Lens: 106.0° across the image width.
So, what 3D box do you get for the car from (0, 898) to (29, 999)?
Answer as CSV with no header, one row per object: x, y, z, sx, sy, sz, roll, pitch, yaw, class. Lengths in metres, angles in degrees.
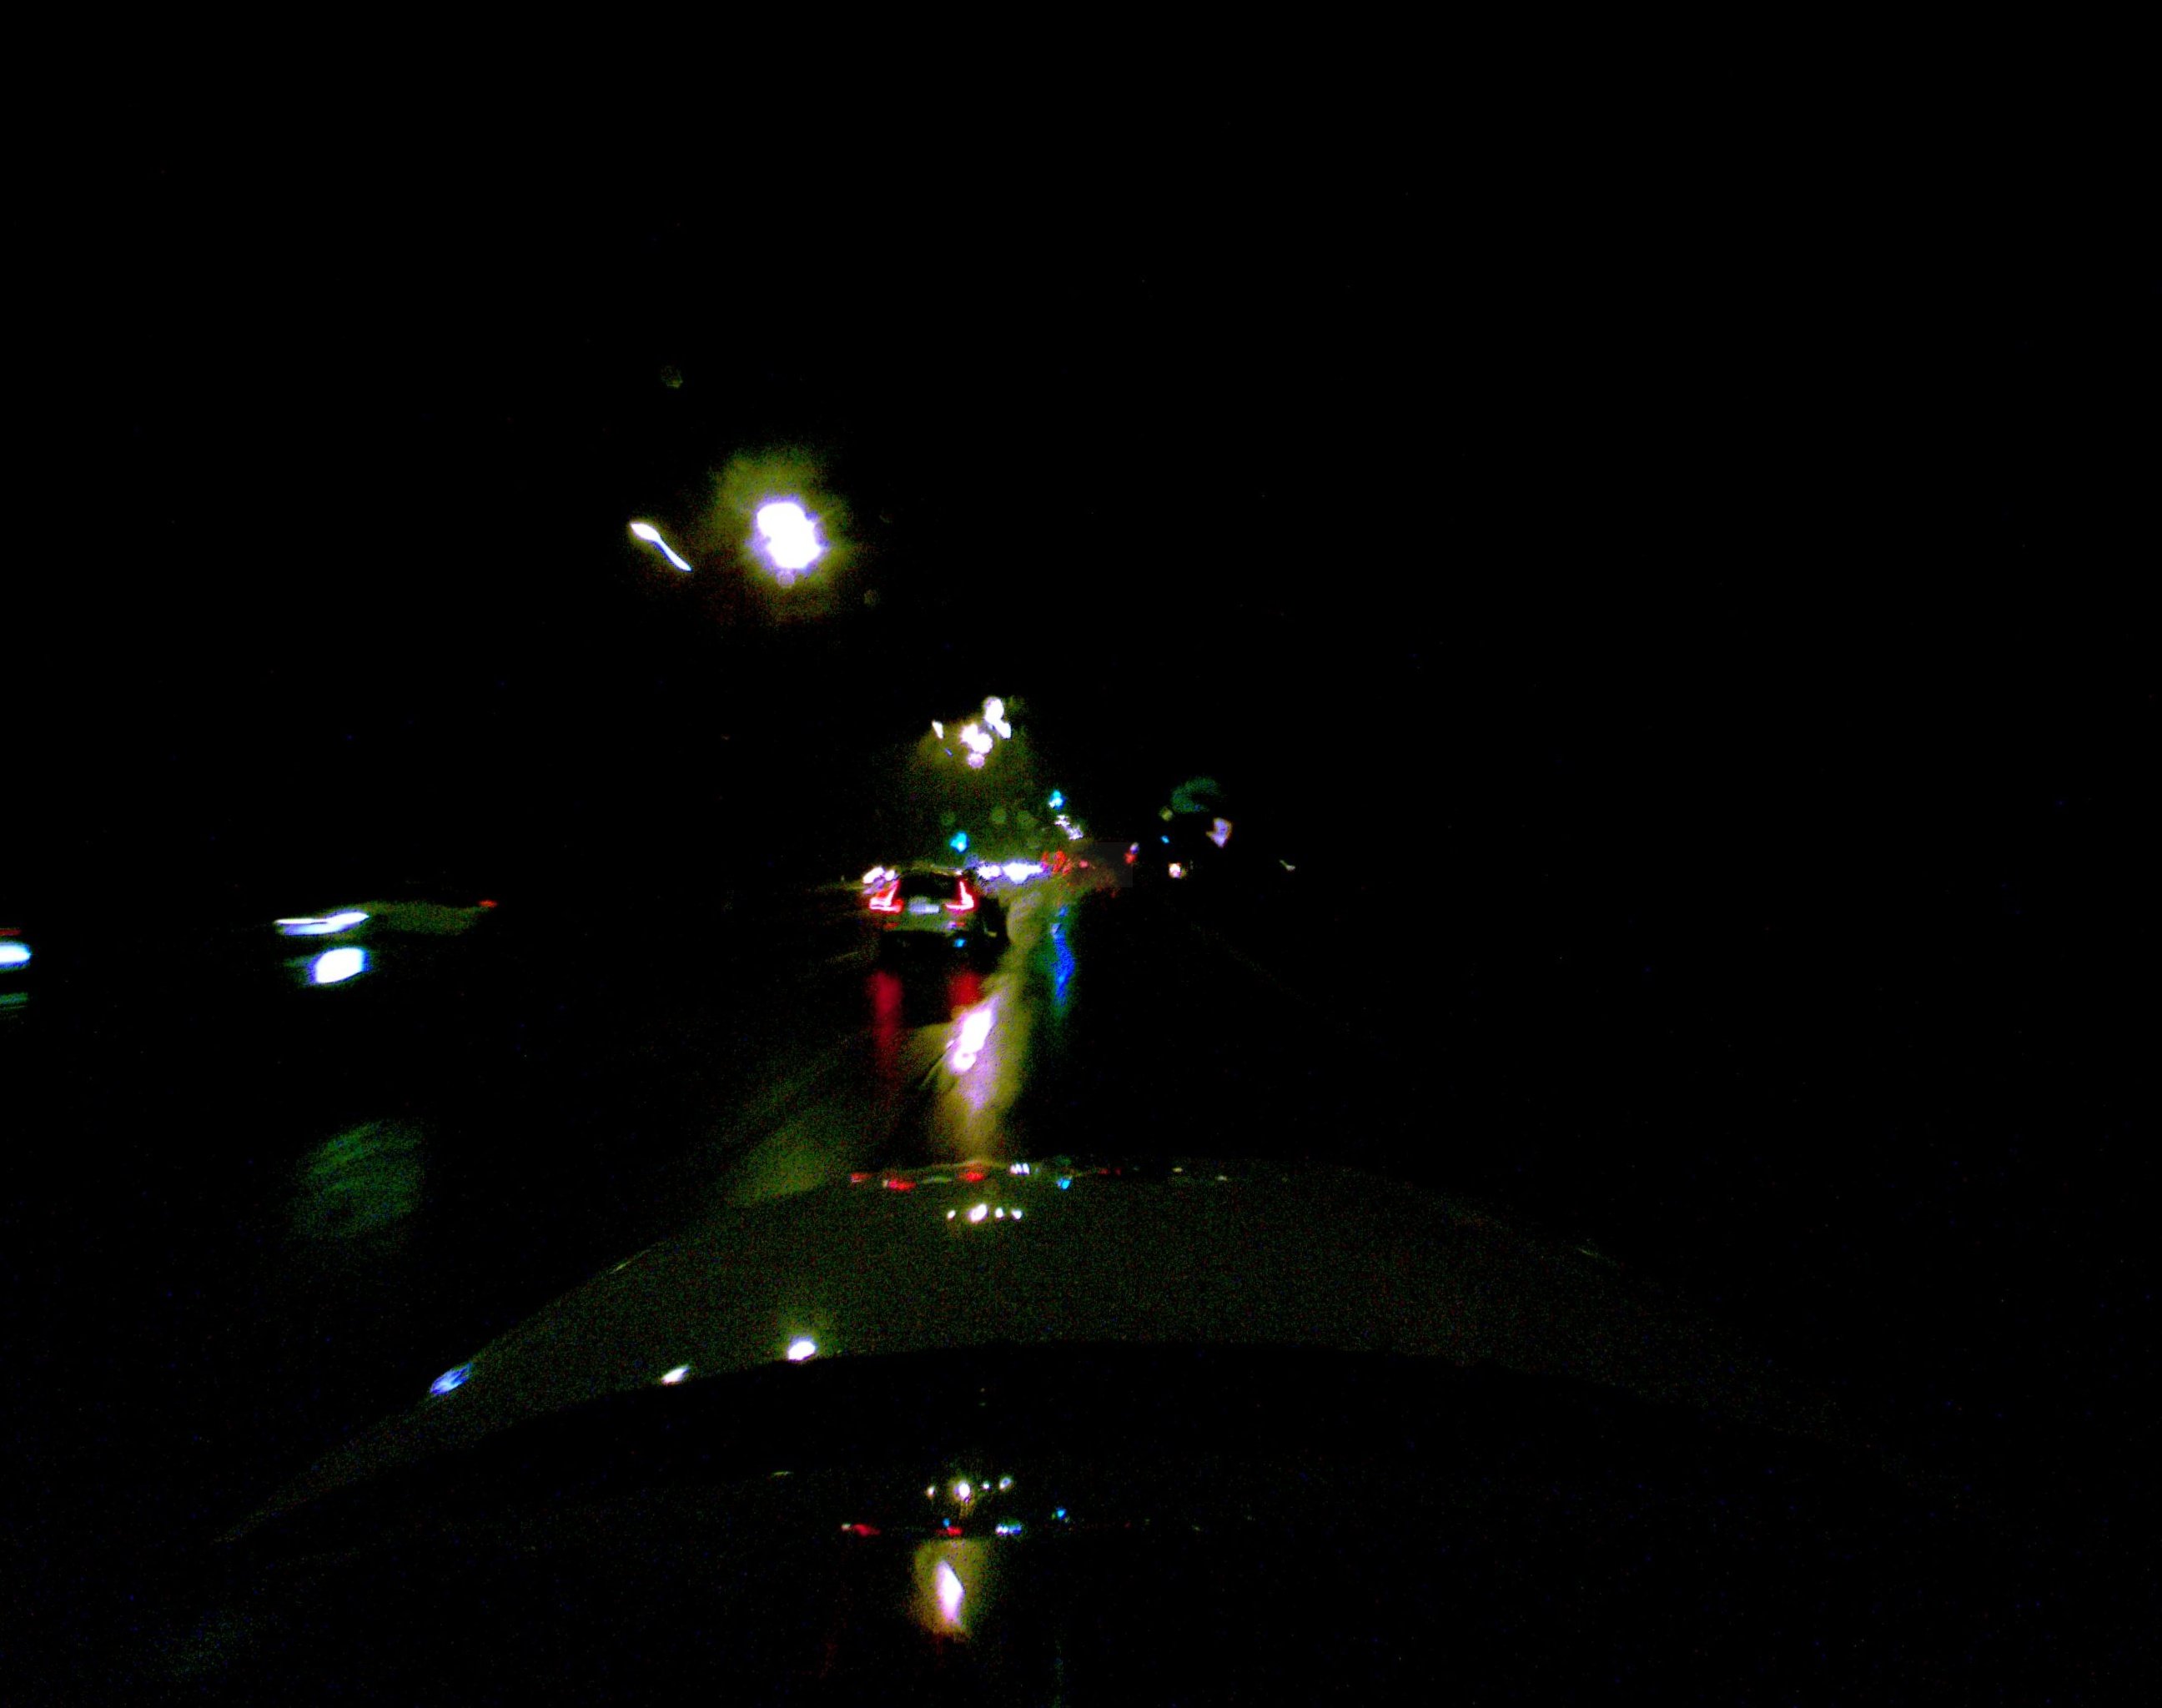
-18.131,1.539,11.342,1.487,1.602,4.147,-1,0,2,car

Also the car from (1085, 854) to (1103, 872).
1.584,1.145,99.896,1.986,1.839,4.001,3,-3,2,car

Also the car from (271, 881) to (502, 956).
-17.245,1.525,20.588,1.875,1.530,4.435,-1,0,3,car

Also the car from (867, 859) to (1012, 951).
-2.471,0.839,15.315,1.789,1.452,4.271,-1,0,2,car

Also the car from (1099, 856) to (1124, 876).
2.724,1.075,72.325,1.901,1.602,4.005,3,-3,5,car

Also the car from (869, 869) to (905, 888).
-13.697,1.714,57.701,1.638,1.203,3.614,-1,0,0,car

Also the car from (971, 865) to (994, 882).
-9.348,1.838,77.157,1.583,1.427,3.353,-1,0,3,car

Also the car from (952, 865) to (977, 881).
-12.558,2.060,87.881,1.774,1.608,4.247,-1,0,3,car

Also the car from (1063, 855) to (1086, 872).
-0.672,1.023,85.857,2.169,1.602,4.001,3,-3,2,car

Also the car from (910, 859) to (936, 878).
-16.700,1.497,86.324,1.756,1.892,4.207,-1,0,1,car

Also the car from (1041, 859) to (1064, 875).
-3.420,1.563,97.492,2.167,1.602,4.005,3,-3,5,car
